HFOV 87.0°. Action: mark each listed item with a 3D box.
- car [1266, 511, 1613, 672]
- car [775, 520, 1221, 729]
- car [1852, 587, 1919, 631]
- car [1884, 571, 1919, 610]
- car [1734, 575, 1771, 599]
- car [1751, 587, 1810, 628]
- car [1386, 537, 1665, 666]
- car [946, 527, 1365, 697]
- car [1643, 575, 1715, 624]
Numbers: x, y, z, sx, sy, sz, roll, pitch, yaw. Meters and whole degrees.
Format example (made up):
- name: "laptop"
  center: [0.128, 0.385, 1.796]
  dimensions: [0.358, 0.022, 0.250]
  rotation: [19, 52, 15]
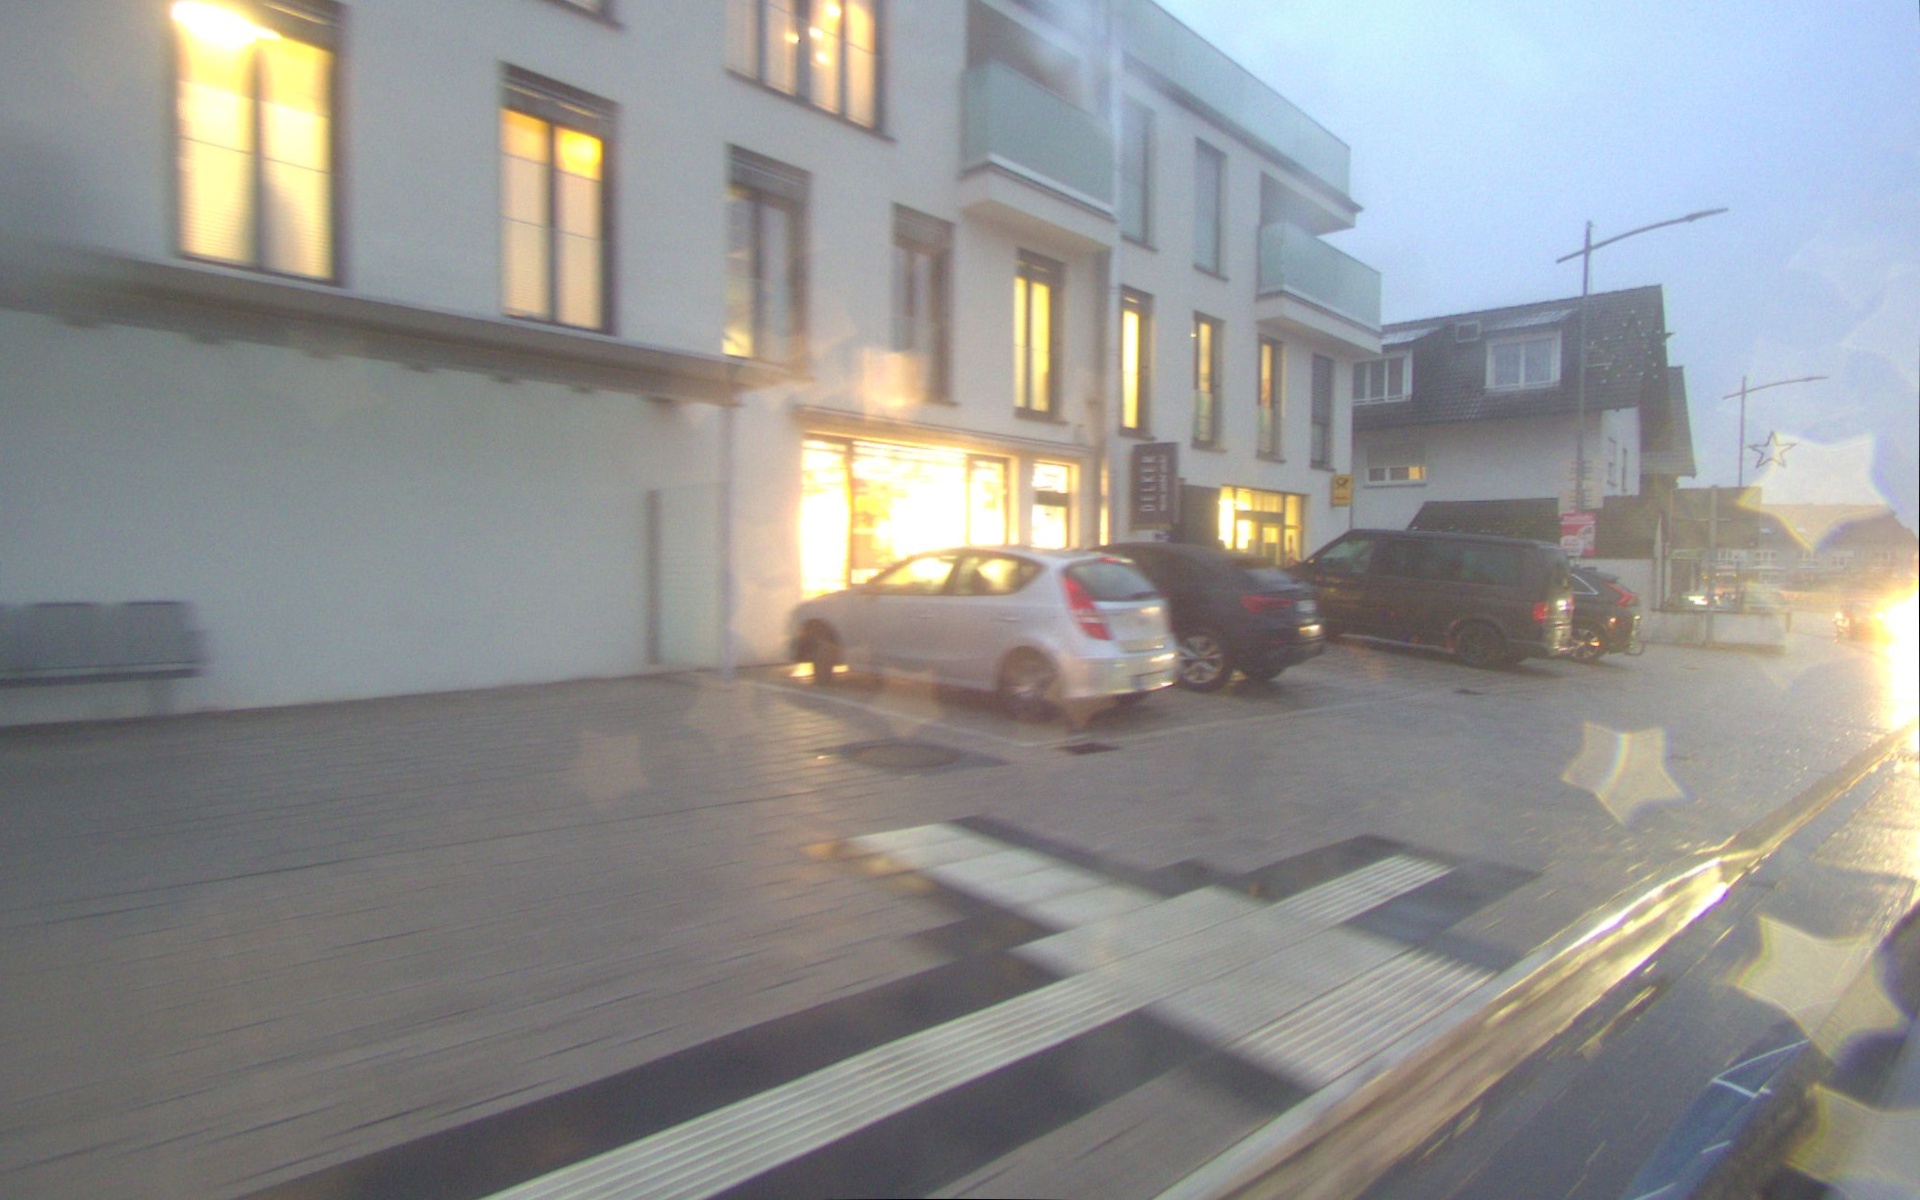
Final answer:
- name: "car"
  center: [7.576, -0.251, 16.327]
  dimensions: [4.545, 1.956, 1.944]
  rotation: [10, 6, 43]
- name: "car"
  center: [0.246, 0.083, 9.792]
  dimensions: [3.981, 1.521, 1.789]
  rotation: [5, 4, 38]
- name: "car"
  center: [33.199, 0.279, 36.178]
  dimensions: [1.733, 1.461, 3.945]
  rotation: [0, 1, 38]
- name: "car"
  center: [52.434, -0.527, 55.229]
  dimensions: [1.982, 2.039, 3.961]
  rotation: [1, 1, 28]
- name: "car"
  center: [71.691, -1.191, 91.599]
  dimensions: [1.982, 2.039, 3.961]
  rotation: [1, 1, 28]
- name: "car"
  center: [34.419, 0.275, 42.444]
  dimensions: [1.841, 1.606, 3.714]
  rotation: [2, 1, 40]
- name: "car"
  center: [10.339, -0.049, 18.659]
  dimensions: [4.134, 1.653, 1.731]
  rotation: [11, 7, 37]
- name: "car"
  center: [2.184, 0.006, 12.093]
  dimensions: [4.505, 1.510, 1.946]
  rotation: [6, 4, 40]
- name: "car"
  center: [24.667, -0.025, 34.665]
  dimensions: [1.769, 1.515, 3.725]
  rotation: [4, 3, 38]
